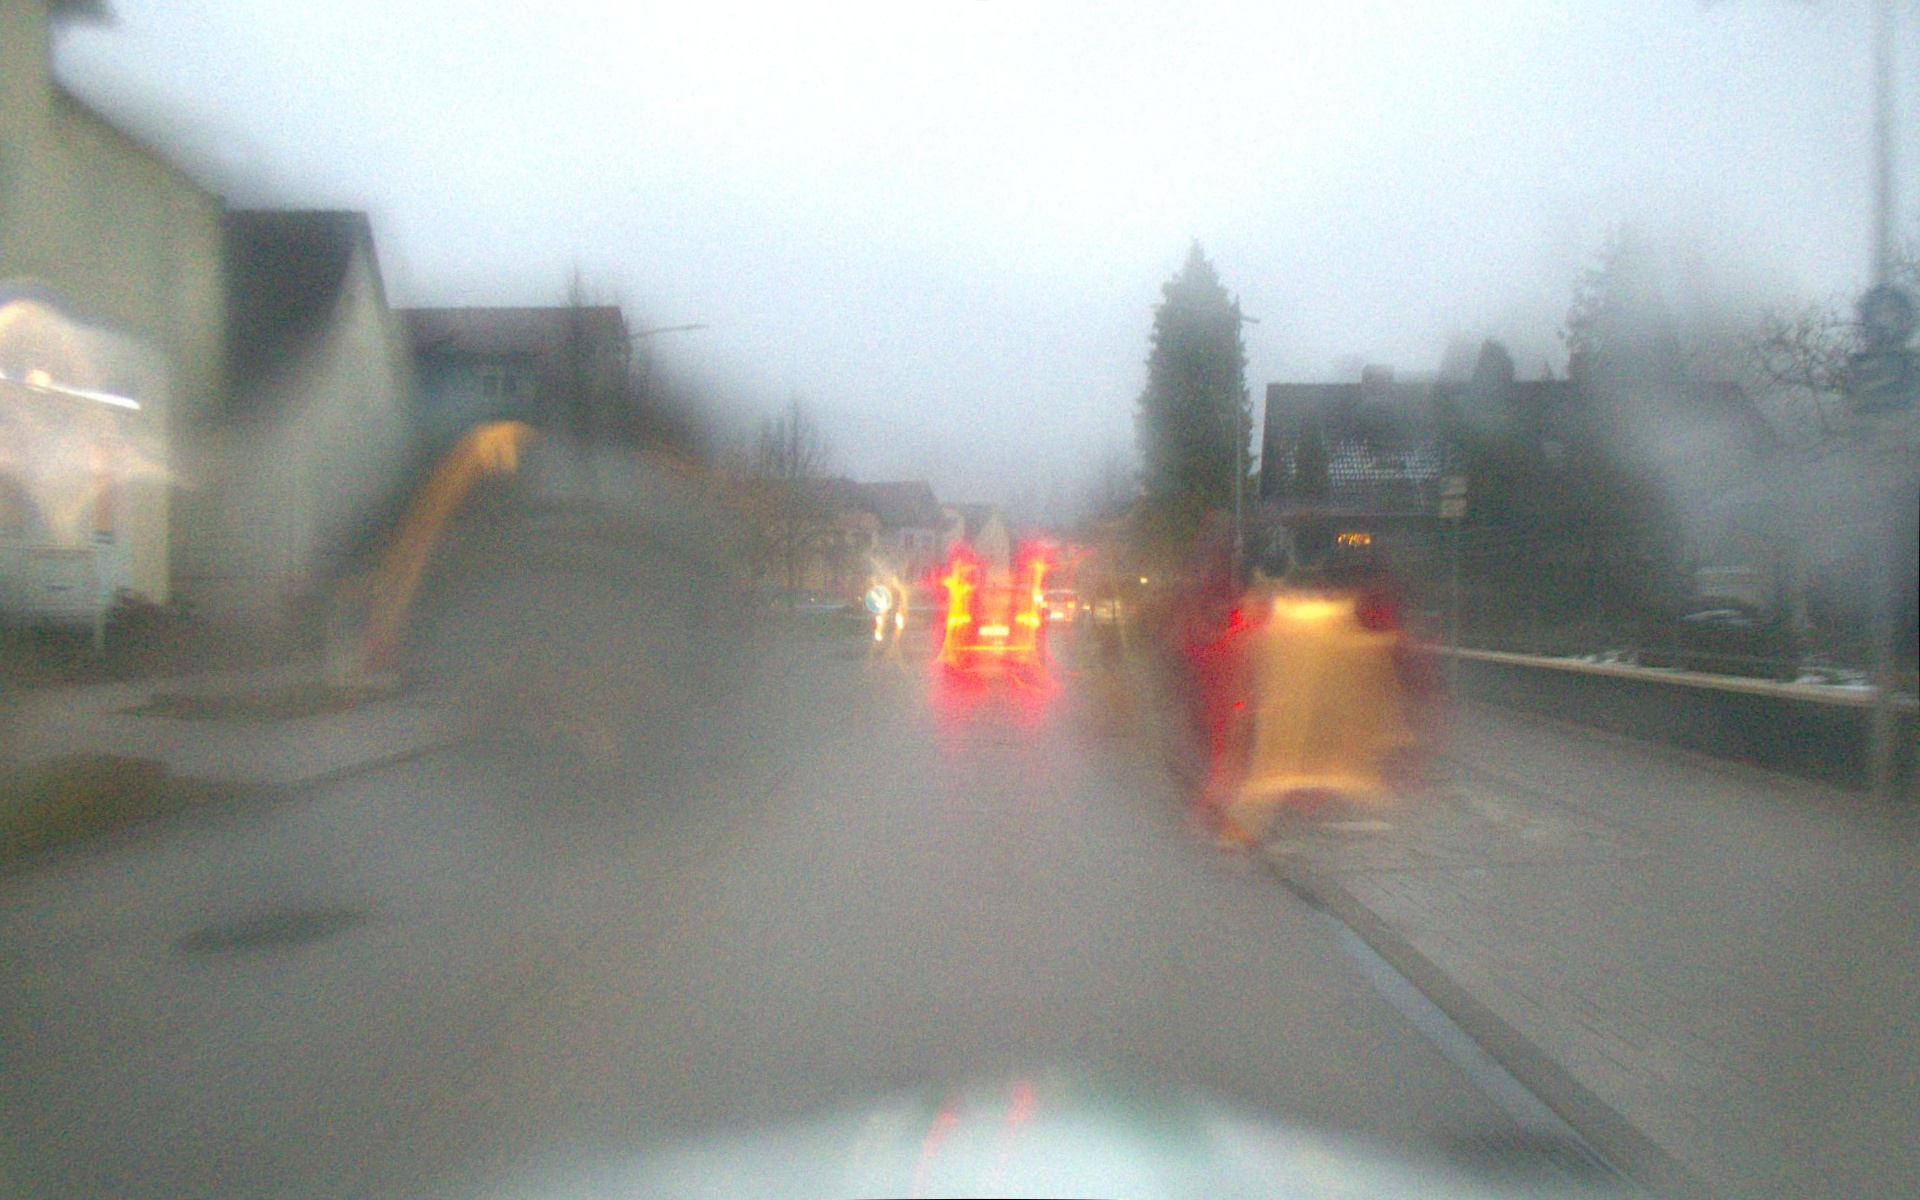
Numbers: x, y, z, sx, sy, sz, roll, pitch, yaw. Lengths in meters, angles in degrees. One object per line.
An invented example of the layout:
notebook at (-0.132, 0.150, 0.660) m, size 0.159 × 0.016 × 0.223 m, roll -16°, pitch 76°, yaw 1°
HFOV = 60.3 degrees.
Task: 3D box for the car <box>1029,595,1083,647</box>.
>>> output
car at (4.001, 0.889, 68.337) m, size 1.951 × 2.049 × 4.002 m, roll 1°, pitch -1°, yaw 6°

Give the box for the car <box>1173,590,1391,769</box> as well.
car at (3.220, 0.765, 17.124) m, size 1.615 × 1.567 × 3.391 m, roll -4°, pitch -1°, yaw 2°

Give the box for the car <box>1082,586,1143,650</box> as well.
car at (5.240, 0.581, 57.154) m, size 1.936 × 2.049 × 5.748 m, roll -2°, pitch 0°, yaw 5°

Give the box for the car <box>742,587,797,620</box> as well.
car at (-12.483, 0.254, 108.812) m, size 1.952 × 2.049 × 4.001 m, roll 2°, pitch 0°, yaw 20°

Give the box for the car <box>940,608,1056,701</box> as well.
car at (0.645, 0.934, 30.071) m, size 1.953 × 1.552 × 4.000 m, roll 1°, pitch 0°, yaw 0°

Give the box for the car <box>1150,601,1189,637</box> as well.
car at (11.609, 1.023, 91.461) m, size 1.708 × 1.816 × 4.339 m, roll -2°, pitch 0°, yaw 13°
